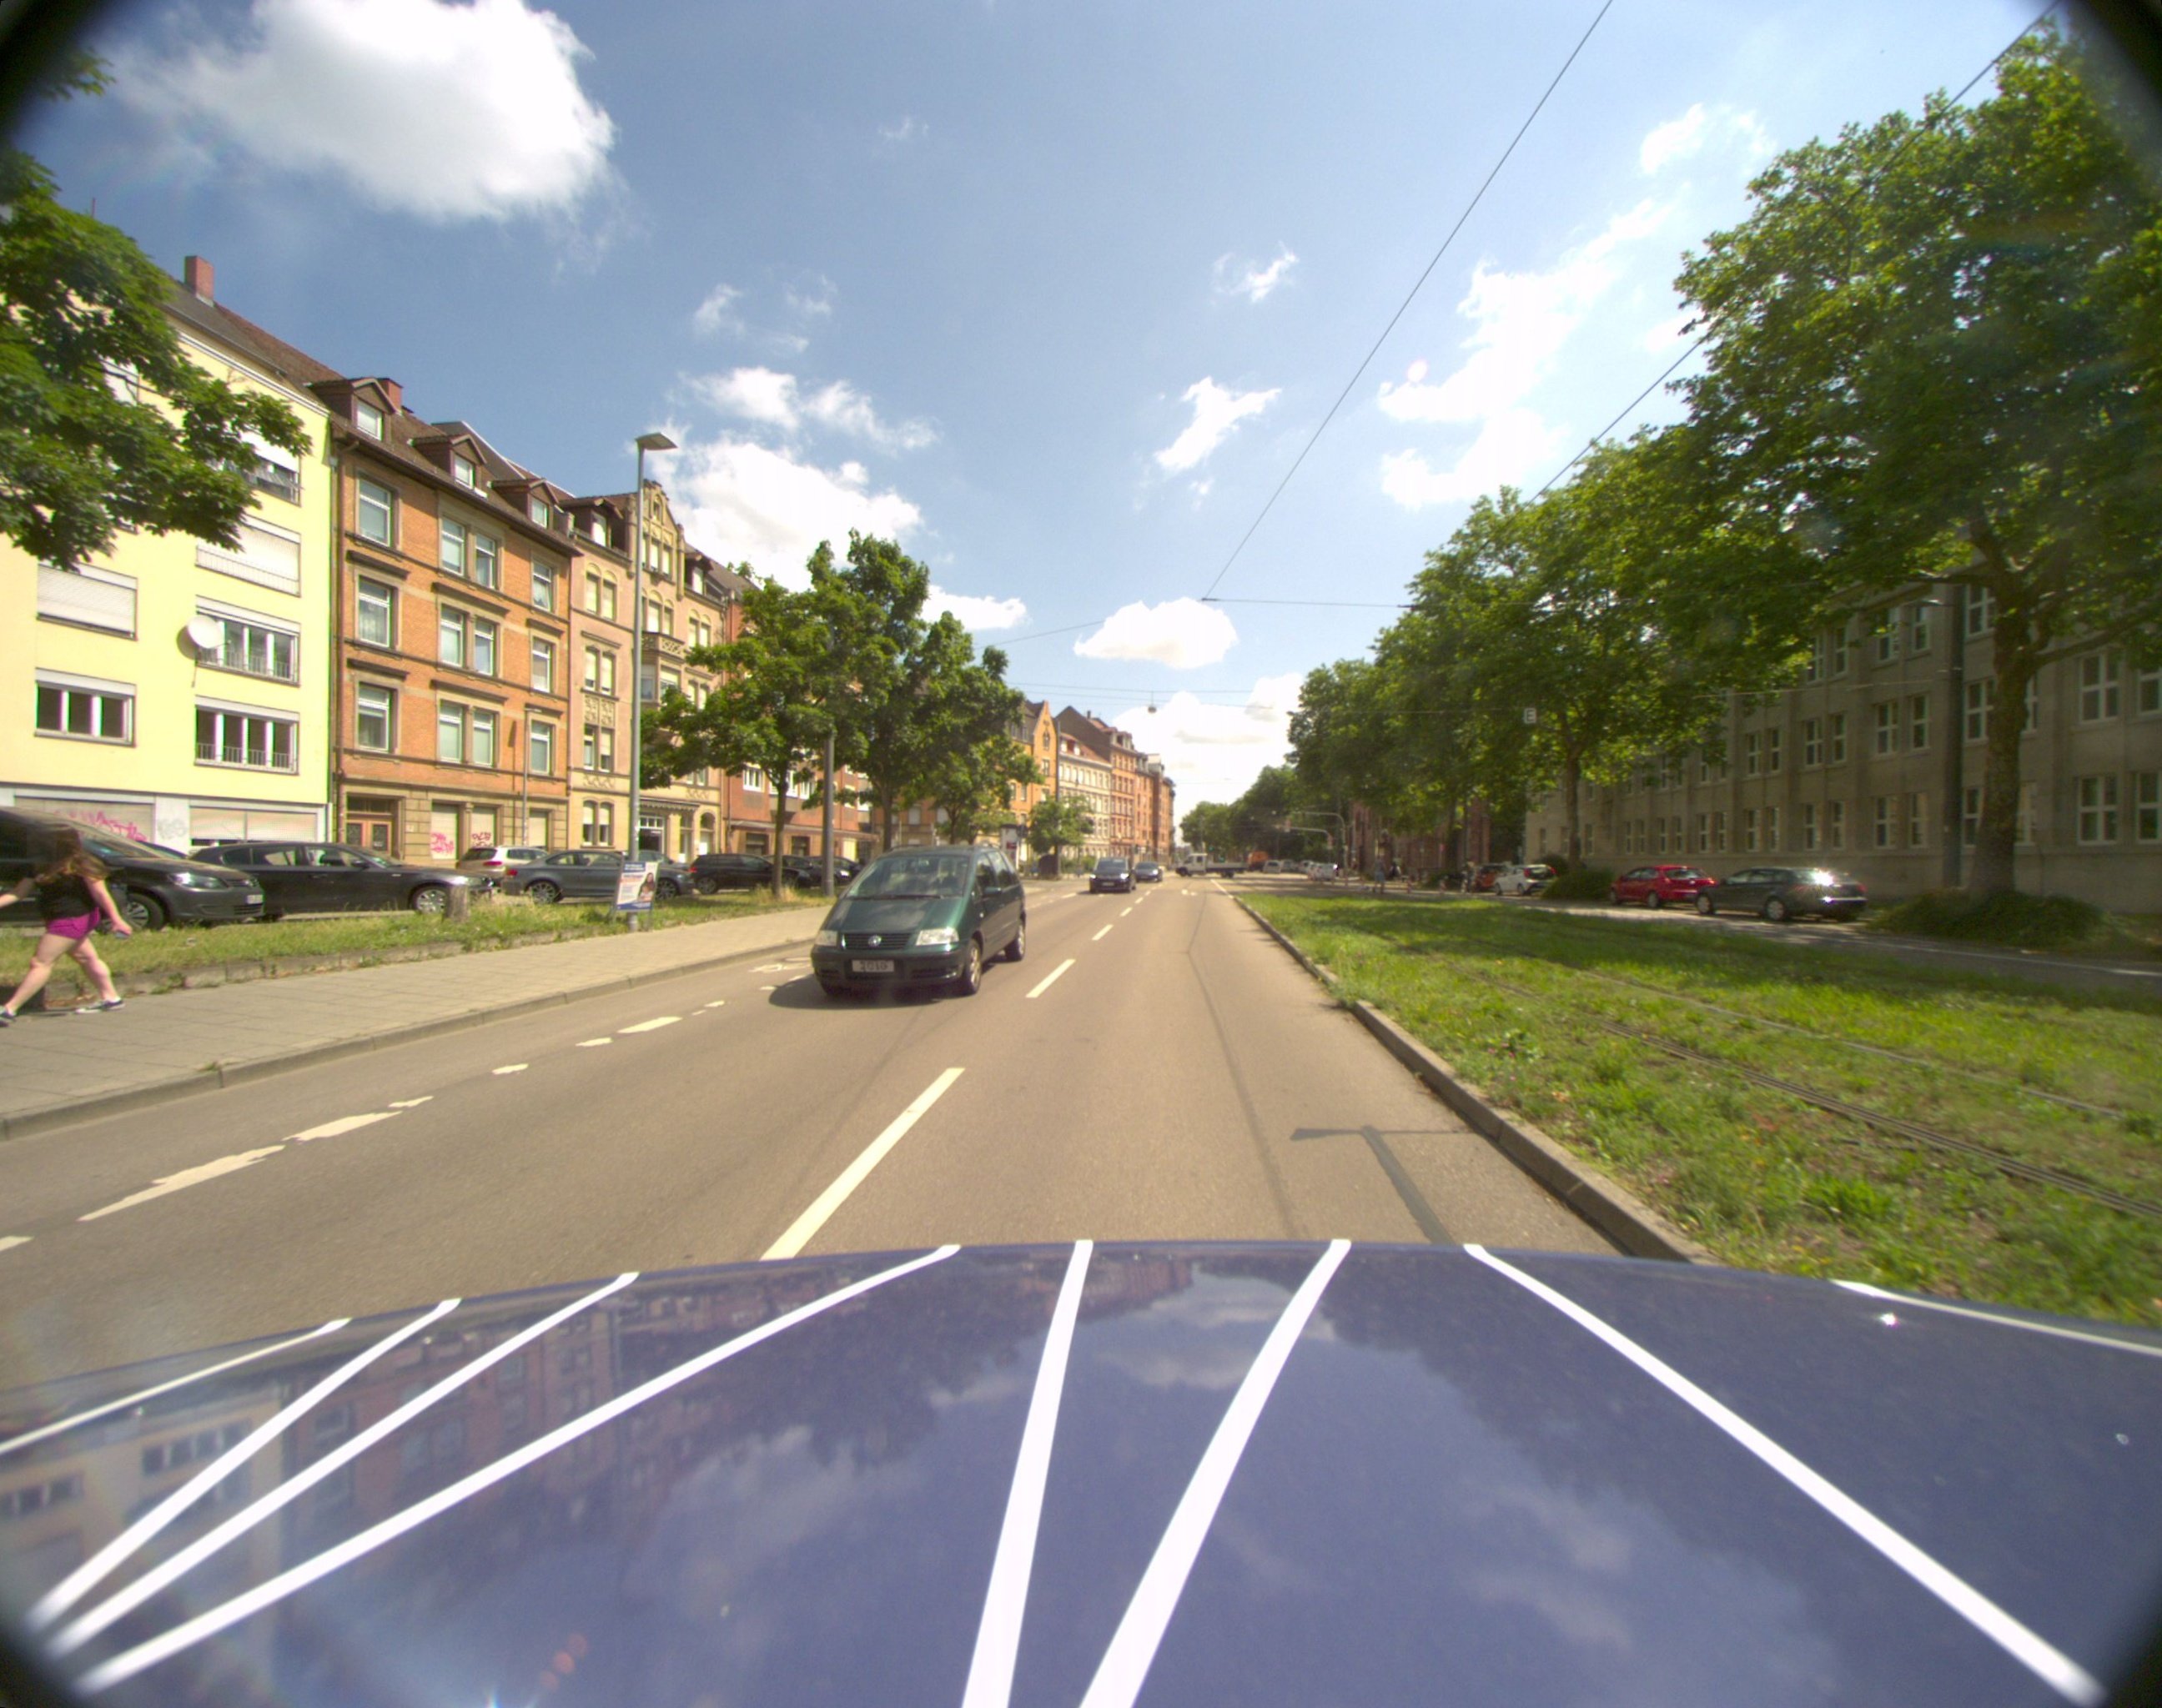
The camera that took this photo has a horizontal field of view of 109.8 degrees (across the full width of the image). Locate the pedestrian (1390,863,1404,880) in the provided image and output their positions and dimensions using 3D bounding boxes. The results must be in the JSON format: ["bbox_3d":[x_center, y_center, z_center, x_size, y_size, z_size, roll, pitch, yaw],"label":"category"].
[{"bbox_3d":[23.990,1.295,57.722,0.757,1.205,0.914,-5,0,10],"label":"pedestrian"}]

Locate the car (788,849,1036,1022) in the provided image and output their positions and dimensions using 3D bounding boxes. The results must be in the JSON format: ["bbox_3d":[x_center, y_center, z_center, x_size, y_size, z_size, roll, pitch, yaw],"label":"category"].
[{"bbox_3d":[-1.884,0.819,10.280,1.822,1.746,5.033,0,0,5],"label":"car"}]

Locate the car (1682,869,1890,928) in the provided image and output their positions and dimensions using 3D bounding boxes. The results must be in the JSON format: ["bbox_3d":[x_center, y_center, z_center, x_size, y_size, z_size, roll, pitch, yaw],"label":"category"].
[{"bbox_3d":[18.823,1.127,20.628,1.930,1.361,4.320,-1,-1,6],"label":"car"}]

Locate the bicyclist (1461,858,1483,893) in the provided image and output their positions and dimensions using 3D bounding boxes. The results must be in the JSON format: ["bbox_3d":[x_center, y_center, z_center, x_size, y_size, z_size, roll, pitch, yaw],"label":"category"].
[{"bbox_3d":[19.420,1.063,37.763,0.762,1.694,0.784,0,1,9],"label":"bicyclist"}]

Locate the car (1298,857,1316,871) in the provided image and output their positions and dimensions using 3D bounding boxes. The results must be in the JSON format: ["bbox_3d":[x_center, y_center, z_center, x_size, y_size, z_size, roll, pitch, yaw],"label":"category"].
[{"bbox_3d":[30.734,1.361,103.347,1.760,1.825,4.003,-1,0,9],"label":"car"}]

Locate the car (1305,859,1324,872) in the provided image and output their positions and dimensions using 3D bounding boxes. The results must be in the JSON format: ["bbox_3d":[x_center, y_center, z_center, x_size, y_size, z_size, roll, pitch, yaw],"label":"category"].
[{"bbox_3d":[29.846,1.443,97.080,1.760,1.488,4.003,-1,0,9],"label":"car"}]

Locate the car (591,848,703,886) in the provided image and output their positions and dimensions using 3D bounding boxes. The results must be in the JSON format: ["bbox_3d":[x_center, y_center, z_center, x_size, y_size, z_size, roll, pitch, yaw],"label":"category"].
[{"bbox_3d":[-19.462,0.531,34.337,1.835,1.606,4.499,-1,0,11],"label":"car"}]

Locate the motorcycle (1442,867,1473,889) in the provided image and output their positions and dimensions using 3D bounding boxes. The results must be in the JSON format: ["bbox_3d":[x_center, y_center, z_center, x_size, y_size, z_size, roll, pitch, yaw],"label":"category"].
[{"bbox_3d":[22.580,1.418,45.562,2.110,1.168,0.543,-3,-2,-30],"label":"motorcycle"}]

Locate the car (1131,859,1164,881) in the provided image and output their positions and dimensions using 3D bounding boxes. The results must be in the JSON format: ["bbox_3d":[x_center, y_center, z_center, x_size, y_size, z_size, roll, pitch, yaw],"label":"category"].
[{"bbox_3d":[4.559,1.065,51.704,1.913,1.386,4.316,0,0,9],"label":"car"}]

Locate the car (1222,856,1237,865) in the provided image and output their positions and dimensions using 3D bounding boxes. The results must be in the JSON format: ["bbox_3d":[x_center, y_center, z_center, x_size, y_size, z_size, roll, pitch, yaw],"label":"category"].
[{"bbox_3d":[34.817,1.555,178.363,1.764,2.171,3.993,-1,0,-21],"label":"car"}]

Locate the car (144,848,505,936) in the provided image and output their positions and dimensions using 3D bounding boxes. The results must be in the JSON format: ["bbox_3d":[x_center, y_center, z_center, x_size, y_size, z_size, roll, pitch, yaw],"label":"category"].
[{"bbox_3d":[-13.321,0.598,13.817,4.275,1.372,1.848,-1,0,-28],"label":"car"}]

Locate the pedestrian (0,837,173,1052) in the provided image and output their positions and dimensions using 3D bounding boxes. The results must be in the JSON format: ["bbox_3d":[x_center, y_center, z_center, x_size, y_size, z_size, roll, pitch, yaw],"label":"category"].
[{"bbox_3d":[-8.293,0.675,6.170,0.701,1.583,0.906,3,1,7],"label":"pedestrian"}]

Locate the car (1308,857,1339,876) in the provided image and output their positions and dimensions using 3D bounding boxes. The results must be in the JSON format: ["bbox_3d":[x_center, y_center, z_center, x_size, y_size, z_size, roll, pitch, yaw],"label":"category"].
[{"bbox_3d":[20.325,1.043,63.701,1.763,1.471,3.790,3,0,7],"label":"car"}]

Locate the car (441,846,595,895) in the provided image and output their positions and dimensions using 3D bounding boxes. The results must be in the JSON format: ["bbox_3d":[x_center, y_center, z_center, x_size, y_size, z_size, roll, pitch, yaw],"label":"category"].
[{"bbox_3d":[-20.360,0.553,27.745,1.835,1.606,4.498,-1,0,8],"label":"car"}]

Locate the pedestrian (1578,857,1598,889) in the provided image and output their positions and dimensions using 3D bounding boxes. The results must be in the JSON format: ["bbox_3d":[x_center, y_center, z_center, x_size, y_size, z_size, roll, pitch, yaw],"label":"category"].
[{"bbox_3d":[25.595,0.970,38.352,0.555,1.582,0.796,0,1,7],"label":"pedestrian"}]

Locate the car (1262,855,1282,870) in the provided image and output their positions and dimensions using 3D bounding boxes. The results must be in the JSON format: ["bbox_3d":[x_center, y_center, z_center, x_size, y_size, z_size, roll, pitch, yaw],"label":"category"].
[{"bbox_3d":[24.772,1.091,98.782,1.924,1.736,4.540,3,1,7],"label":"car"}]

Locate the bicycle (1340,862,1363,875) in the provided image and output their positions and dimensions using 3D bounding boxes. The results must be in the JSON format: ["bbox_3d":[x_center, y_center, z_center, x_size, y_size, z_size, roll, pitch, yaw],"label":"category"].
[{"bbox_3d":[27.551,1.478,77.292,2.087,1.282,0.672,-2,0,1],"label":"bicycle"}]

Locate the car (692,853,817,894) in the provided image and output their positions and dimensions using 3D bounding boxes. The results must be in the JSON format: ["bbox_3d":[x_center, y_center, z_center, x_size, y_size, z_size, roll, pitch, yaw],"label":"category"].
[{"bbox_3d":[-11.665,0.668,27.416,4.004,1.372,1.958,-1,0,-20],"label":"car"}]

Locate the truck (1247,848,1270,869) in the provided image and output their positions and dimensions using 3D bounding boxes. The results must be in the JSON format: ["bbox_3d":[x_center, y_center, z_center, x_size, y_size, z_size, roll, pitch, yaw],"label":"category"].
[{"bbox_3d":[27.376,0.680,117.340,2.644,3.088,7.227,2,1,8],"label":"truck"}]

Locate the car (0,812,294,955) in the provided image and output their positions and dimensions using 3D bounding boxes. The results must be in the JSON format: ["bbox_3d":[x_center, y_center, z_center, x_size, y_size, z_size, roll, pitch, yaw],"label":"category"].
[{"bbox_3d":[-13.720,0.366,9.941,4.372,1.731,1.848,-1,0,-28],"label":"car"}]

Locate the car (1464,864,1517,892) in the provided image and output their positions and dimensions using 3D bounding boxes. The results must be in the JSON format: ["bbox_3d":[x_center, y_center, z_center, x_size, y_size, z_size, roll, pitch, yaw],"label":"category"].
[{"bbox_3d":[21.696,1.251,40.385,1.489,1.445,2.884,-1,-1,6],"label":"car"}]

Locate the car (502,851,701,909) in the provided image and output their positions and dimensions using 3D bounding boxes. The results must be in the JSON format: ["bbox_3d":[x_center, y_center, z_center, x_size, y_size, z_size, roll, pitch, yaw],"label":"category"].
[{"bbox_3d":[-12.501,0.629,20.149,4.275,1.372,1.848,-1,0,-28],"label":"car"}]

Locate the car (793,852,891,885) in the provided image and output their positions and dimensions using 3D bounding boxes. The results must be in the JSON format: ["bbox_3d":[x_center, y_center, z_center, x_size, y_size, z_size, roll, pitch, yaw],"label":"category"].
[{"bbox_3d":[-10.530,0.627,33.740,4.002,1.346,1.959,-1,0,-14],"label":"car"}]

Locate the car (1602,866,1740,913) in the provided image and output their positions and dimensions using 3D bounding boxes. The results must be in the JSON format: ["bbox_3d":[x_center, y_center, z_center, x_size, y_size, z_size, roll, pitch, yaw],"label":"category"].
[{"bbox_3d":[19.734,1.136,25.680,1.930,1.411,4.053,-1,-1,8],"label":"car"}]

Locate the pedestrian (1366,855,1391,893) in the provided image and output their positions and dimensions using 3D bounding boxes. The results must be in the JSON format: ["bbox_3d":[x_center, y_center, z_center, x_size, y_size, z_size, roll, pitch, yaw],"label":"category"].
[{"bbox_3d":[13.277,0.884,33.945,0.784,1.694,0.701,-1,1,-29],"label":"pedestrian"}]

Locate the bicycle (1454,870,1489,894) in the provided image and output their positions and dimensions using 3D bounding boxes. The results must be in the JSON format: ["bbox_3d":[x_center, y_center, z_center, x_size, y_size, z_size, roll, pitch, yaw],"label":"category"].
[{"bbox_3d":[19.416,1.360,37.812,0.792,1.103,2.278,-1,0,7],"label":"bicycle"}]

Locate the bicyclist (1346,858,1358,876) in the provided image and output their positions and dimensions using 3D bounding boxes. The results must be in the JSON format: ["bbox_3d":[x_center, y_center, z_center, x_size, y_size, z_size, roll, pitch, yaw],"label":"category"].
[{"bbox_3d":[27.546,1.304,77.288,0.884,1.774,0.662,-2,0,0],"label":"bicyclist"}]

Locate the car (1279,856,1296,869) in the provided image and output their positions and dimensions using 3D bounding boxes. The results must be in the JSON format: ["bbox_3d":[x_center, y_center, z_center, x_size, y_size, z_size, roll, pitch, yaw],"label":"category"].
[{"bbox_3d":[33.425,1.306,122.868,1.992,1.992,4.087,-1,0,6],"label":"car"}]

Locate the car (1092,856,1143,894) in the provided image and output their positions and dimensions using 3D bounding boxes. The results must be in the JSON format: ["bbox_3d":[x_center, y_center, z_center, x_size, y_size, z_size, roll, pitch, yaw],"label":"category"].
[{"bbox_3d":[1.720,0.891,34.673,1.874,1.610,4.192,0,0,9],"label":"car"}]

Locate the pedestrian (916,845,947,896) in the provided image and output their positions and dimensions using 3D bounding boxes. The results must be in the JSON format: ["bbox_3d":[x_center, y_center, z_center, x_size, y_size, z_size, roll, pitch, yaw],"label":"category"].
[{"bbox_3d":[-5.155,0.554,26.236,0.701,1.694,1.045,3,1,7],"label":"pedestrian"}]

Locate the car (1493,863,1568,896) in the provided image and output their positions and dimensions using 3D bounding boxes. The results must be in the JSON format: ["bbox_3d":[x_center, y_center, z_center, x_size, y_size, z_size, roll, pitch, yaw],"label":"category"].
[{"bbox_3d":[21.100,1.178,35.823,1.750,1.445,3.493,-1,-1,6],"label":"car"}]

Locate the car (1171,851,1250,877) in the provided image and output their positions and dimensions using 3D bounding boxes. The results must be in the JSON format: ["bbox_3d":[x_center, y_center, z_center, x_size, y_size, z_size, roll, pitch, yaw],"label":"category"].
[{"bbox_3d":[12.186,0.906,71.679,6.961,2.360,2.267,0,0,30],"label":"car"}]

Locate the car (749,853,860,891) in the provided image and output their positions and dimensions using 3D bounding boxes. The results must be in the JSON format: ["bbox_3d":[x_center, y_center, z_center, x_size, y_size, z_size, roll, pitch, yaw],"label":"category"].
[{"bbox_3d":[-11.038,0.683,30.335,4.005,1.372,1.957,-1,0,-25],"label":"car"}]
